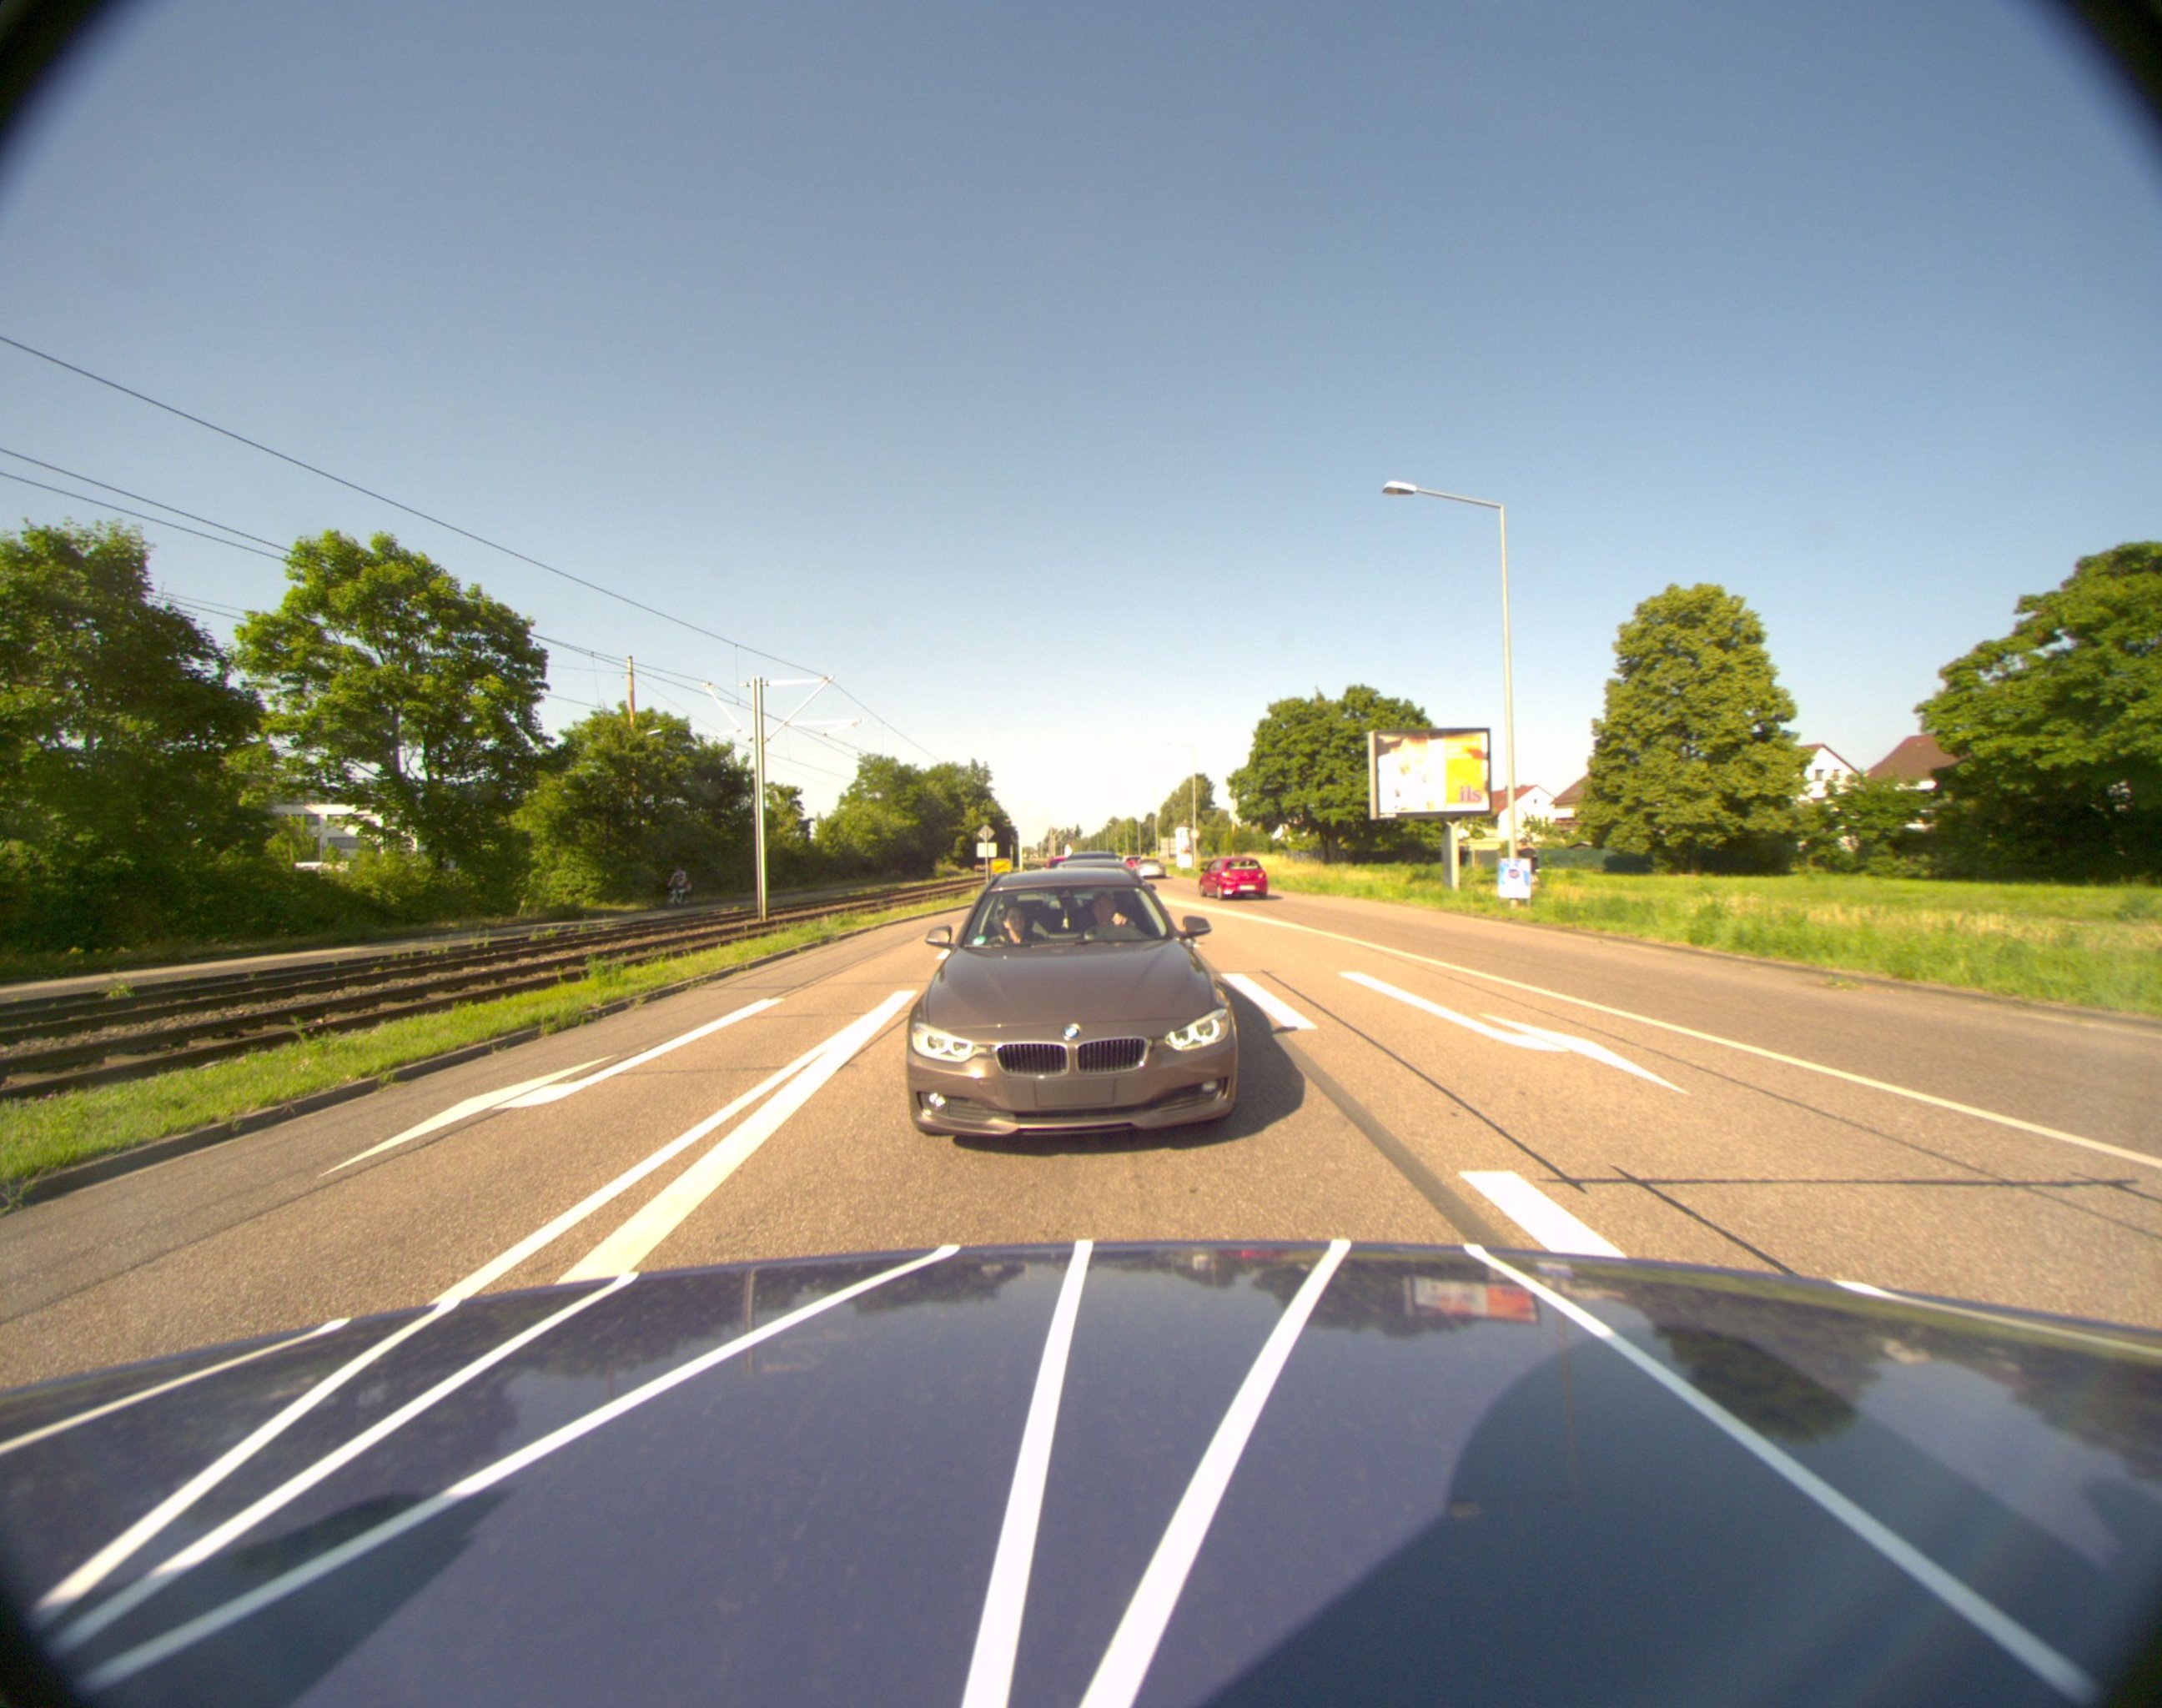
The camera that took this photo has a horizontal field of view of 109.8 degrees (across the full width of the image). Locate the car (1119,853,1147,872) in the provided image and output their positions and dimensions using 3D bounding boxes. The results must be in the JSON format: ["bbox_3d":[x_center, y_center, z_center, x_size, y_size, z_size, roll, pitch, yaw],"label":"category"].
[{"bbox_3d":[4.401,0.701,64.498,1.784,1.469,3.912,-1,0,-4],"label":"car"}]

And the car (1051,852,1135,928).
[{"bbox_3d":[0.286,0.802,19.383,1.821,1.641,4.611,-2,0,0],"label":"car"}]

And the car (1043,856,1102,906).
[{"bbox_3d":[-0.247,0.860,25.980,1.807,1.498,4.197,-1,0,0],"label":"car"}]

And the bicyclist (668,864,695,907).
[{"bbox_3d":[-16.788,1.314,31.924,0.708,1.797,0.718,-1,1,3],"label":"bicyclist"}]

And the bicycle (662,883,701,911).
[{"bbox_3d":[-16.751,1.794,31.934,0.547,1.041,1.874,-1,0,3],"label":"bicycle"}]

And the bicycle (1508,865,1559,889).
[{"bbox_3d":[15.260,0.748,25.672,0.455,0.749,1.833,-1,0,-7],"label":"bicycle"}]

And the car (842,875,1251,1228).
[{"bbox_3d":[-0.132,0.976,5.720,1.821,1.416,4.461,-2,0,1],"label":"car"}]

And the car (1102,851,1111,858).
[{"bbox_3d":[5.734,0.192,171.492,1.784,1.469,4.285,-1,0,-3],"label":"car"}]

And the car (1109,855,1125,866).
[{"bbox_3d":[5.329,0.975,113.629,1.784,1.469,4.285,-1,0,-4],"label":"car"}]

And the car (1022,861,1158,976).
[{"bbox_3d":[0.139,0.901,12.645,1.821,1.481,4.611,-1,0,0],"label":"car"}]

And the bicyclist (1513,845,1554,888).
[{"bbox_3d":[15.248,0.404,25.634,0.638,1.420,1.071,-1,1,-7],"label":"bicyclist"}]

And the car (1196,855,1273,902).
[{"bbox_3d":[5.295,0.802,26.665,1.699,1.489,3.674,0,0,-4],"label":"car"}]

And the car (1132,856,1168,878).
[{"bbox_3d":[4.292,0.776,47.959,1.784,1.302,4.285,-1,0,-1],"label":"car"}]
